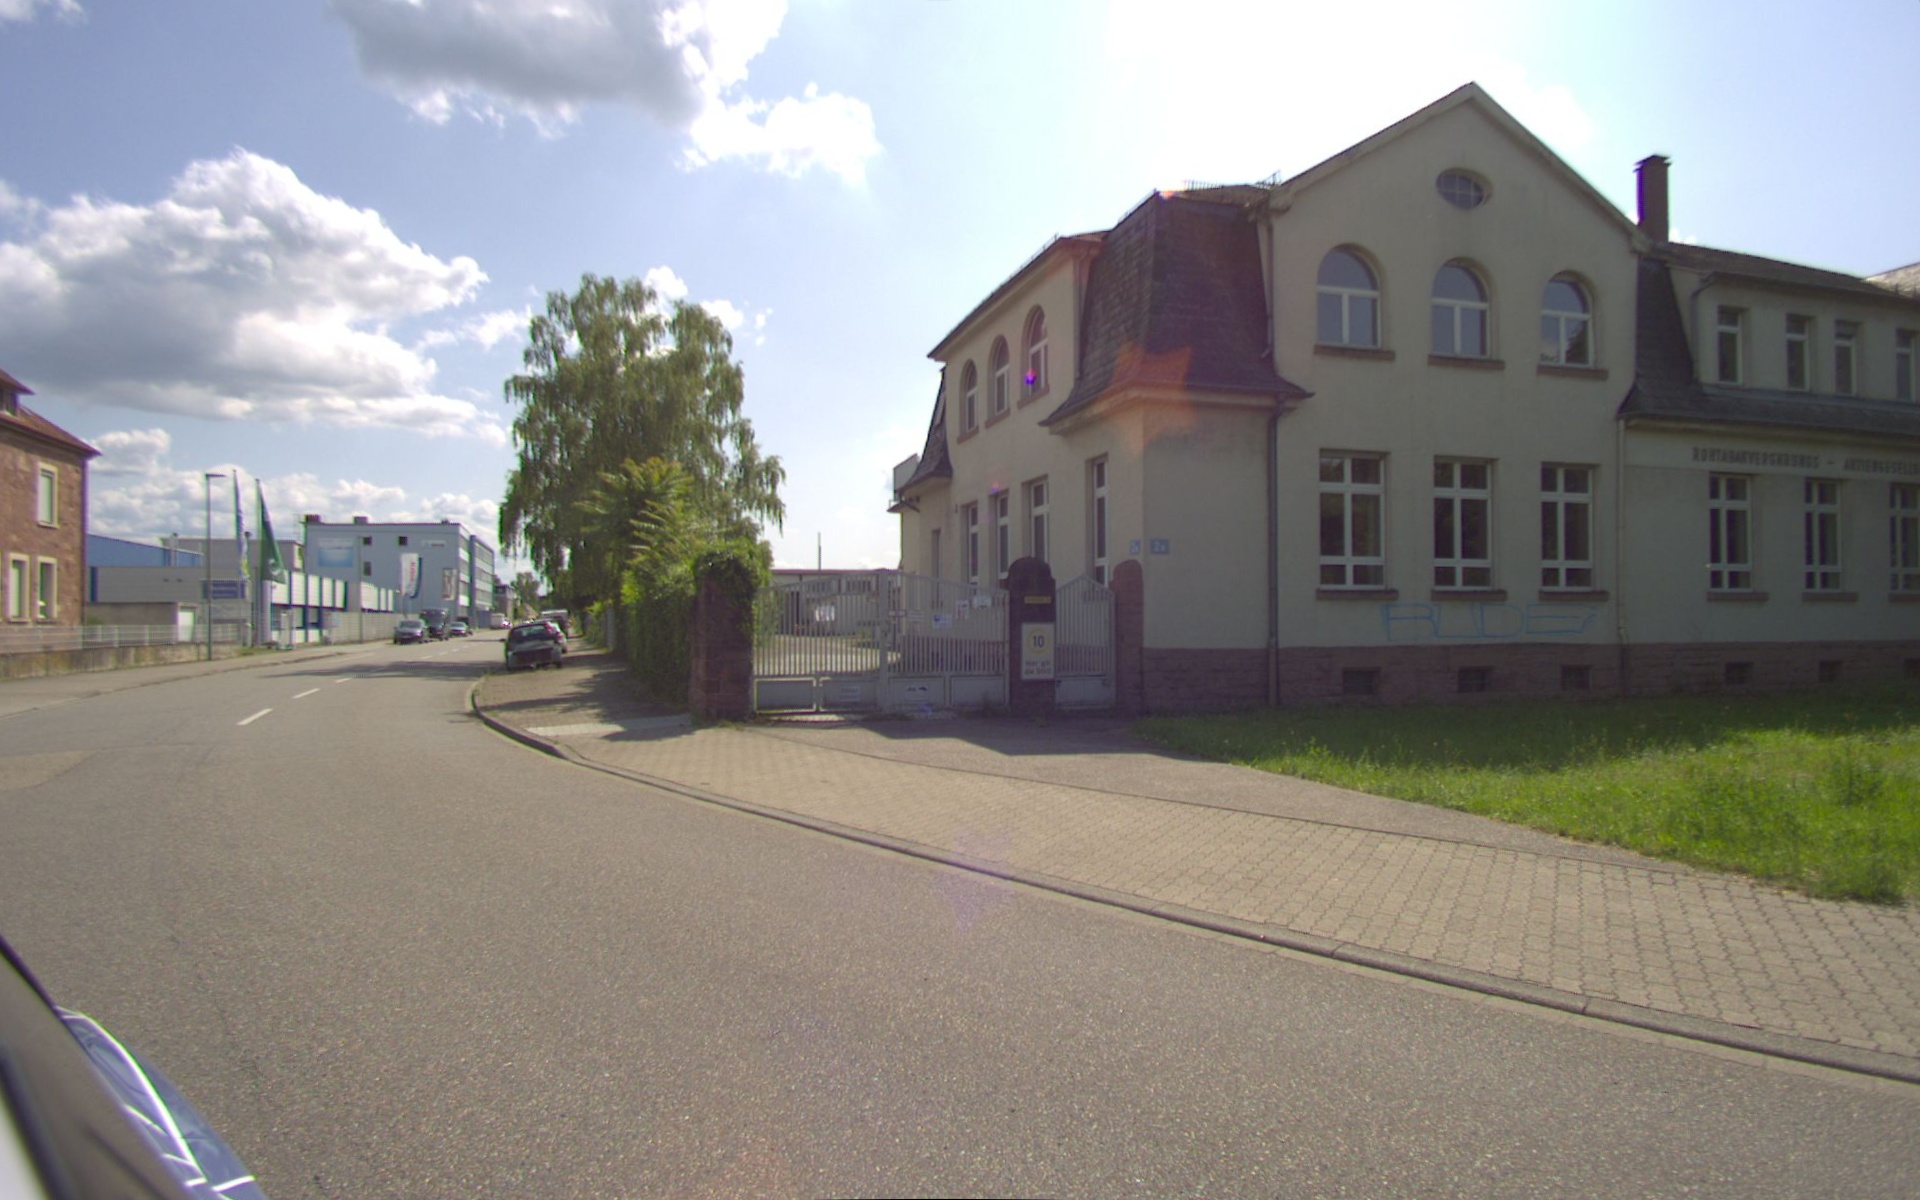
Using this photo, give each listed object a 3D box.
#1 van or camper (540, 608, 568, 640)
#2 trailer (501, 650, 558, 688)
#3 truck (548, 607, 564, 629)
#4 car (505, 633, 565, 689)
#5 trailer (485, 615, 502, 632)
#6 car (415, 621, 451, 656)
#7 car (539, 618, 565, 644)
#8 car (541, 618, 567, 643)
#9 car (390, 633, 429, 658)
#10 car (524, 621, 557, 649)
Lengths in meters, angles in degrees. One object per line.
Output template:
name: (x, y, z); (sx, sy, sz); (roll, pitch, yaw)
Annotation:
van or camper: (-39.702, 2.346, 98.865); (2.231, 2.824, 6.856); (-4, 1, -23)
trailer: (-13.046, 2.069, 30.760); (1.444, 0.857, 2.475); (-5, 1, -21)
truck: (-68.621, 3.105, 171.931); (2.219, 3.386, 6.929); (-5, 0, -22)
car: (-14.322, 2.007, 34.175); (1.659, 1.523, 4.171); (-4, 1, -22)
trailer: (-72.232, 3.712, 156.862); (1.842, 2.573, 5.087); (0, -1, -19)
car: (-42.937, 3.119, 82.574); (1.910, 2.769, 6.174); (1, -2, -22)
car: (-34.918, 2.593, 86.662); (1.872, 1.968, 4.974); (-6, 1, -22)
car: (-32.531, 2.422, 81.147); (1.676, 1.815, 3.838); (-4, 0, -19)
car: (-38.408, 3.137, 70.741); (1.799, 1.677, 4.570); (0, -1, -21)
car: (-25.305, 2.103, 61.133); (1.676, 1.607, 4.802); (0, -1, -21)
